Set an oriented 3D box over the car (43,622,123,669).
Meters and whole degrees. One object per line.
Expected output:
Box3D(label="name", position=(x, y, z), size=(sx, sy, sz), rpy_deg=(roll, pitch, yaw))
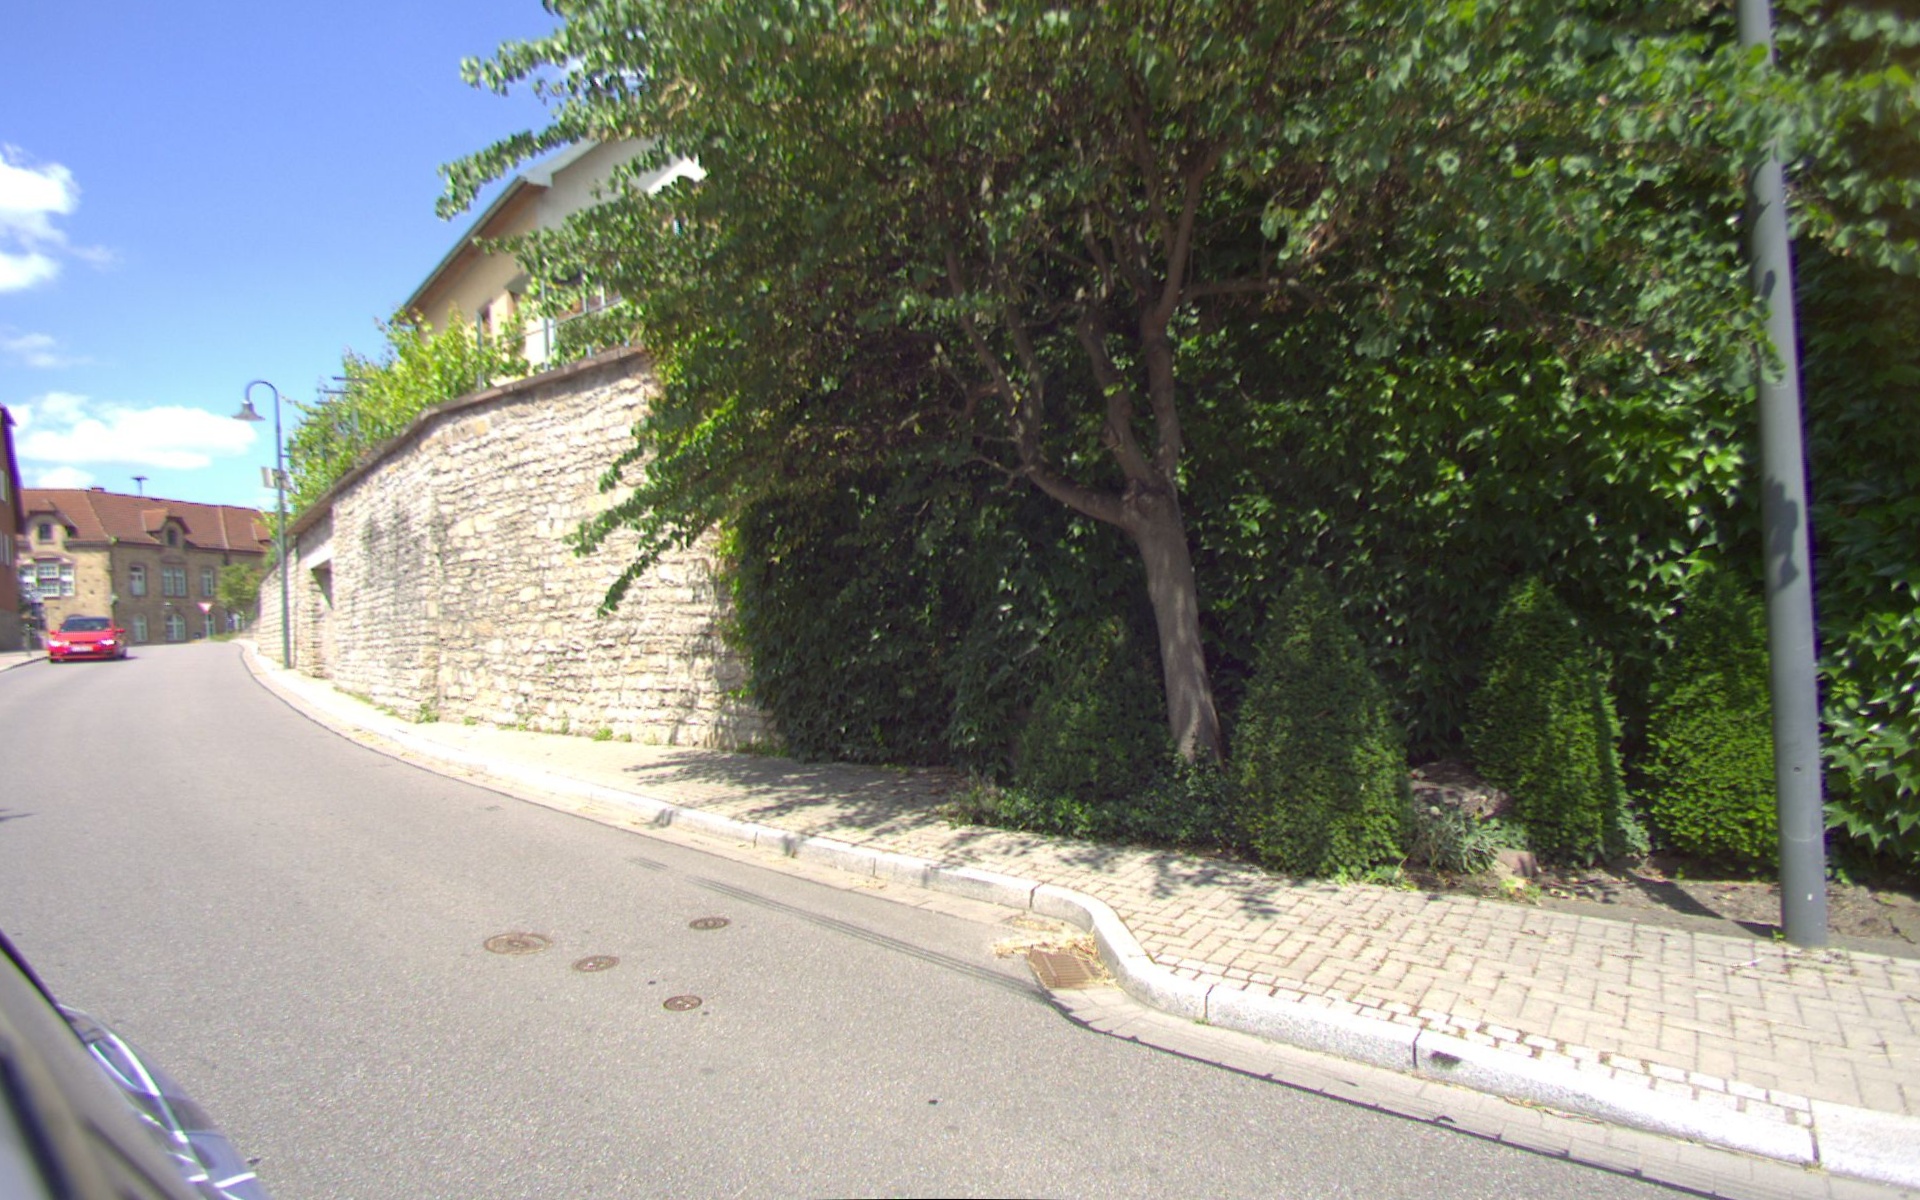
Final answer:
Box3D(label="car", position=(-27.782, 1.396, 32.157), size=(1.643, 1.362, 3.502), rpy_deg=(-1, 0, -36))
